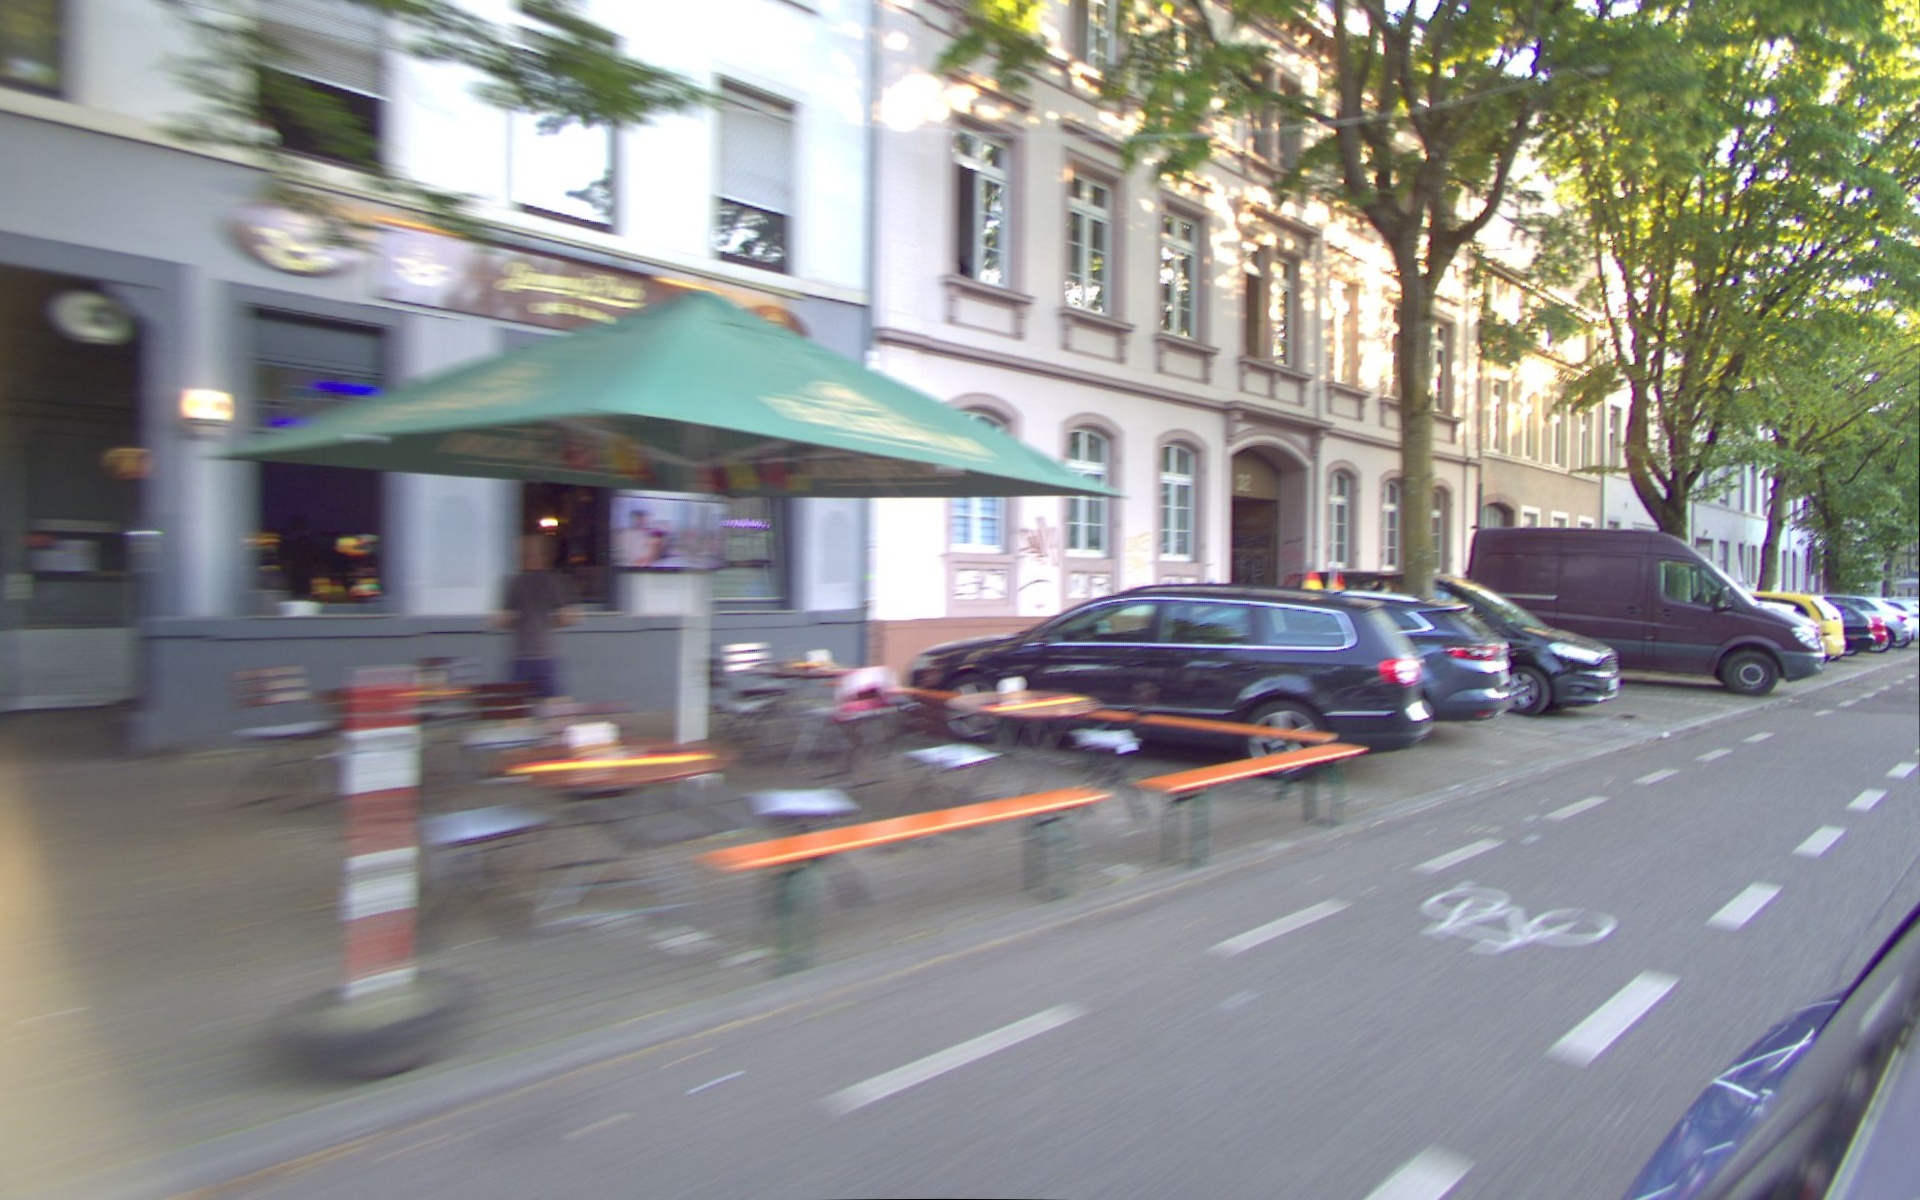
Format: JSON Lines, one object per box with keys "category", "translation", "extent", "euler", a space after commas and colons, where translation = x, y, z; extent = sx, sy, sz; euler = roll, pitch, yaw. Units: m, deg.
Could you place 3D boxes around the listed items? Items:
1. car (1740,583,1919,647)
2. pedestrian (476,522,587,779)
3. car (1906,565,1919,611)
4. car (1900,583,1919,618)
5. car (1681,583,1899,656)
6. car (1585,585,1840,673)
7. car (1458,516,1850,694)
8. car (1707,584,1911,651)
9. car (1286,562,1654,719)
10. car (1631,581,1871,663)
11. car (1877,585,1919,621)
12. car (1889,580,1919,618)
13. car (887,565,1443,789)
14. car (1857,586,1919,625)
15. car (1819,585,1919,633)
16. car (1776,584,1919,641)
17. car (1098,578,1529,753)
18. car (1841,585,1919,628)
{"category": "car", "translation": [24.954, 0.396, 29.053], "extent": [3.975, 1.595, 1.698], "euler": [3, 1, 38]}
{"category": "pedestrian", "translation": [-3.131, 0.339, 7.383], "extent": [0.633, 1.774, 0.499], "euler": [0, 2, -36]}
{"category": "car", "translation": [56.099, -0.590, 56.915], "extent": [1.691, 2.598, 3.991], "euler": [1, 1, -40]}
{"category": "car", "translation": [51.676, 0.082, 52.540], "extent": [3.970, 1.792, 1.700], "euler": [3, 1, 35]}
{"category": "car", "translation": [20.899, 0.446, 25.625], "extent": [1.691, 1.595, 3.992], "euler": [1, 1, -39]}
{"category": "car", "translation": [15.056, 0.517, 20.556], "extent": [3.966, 1.504, 1.702], "euler": [3, 1, 33]}
{"category": "car", "translation": [11.542, -0.046, 17.303], "extent": [5.196, 2.653, 1.905], "euler": [3, 2, 34]}
{"category": "car", "translation": [23.035, 0.419, 27.588], "extent": [1.691, 1.595, 3.992], "euler": [1, 1, -39]}
{"category": "car", "translation": [6.600, 0.410, 13.423], "extent": [1.692, 1.720, 3.989], "euler": [1, 1, -42]}
{"category": "car", "translation": [17.852, 0.440, 22.994], "extent": [1.691, 1.618, 3.992], "euler": [1, 1, -39]}
{"category": "car", "translation": [44.595, 0.204, 46.074], "extent": [3.970, 1.595, 1.700], "euler": [3, 1, 35]}
{"category": "car", "translation": [48.937, 0.004, 50.152], "extent": [3.970, 1.863, 1.700], "euler": [3, 1, 35]}
{"category": "car", "translation": [1.792, 0.535, 9.231], "extent": [4.586, 1.536, 1.796], "euler": [3, 1, 24]}
{"category": "car", "translation": [40.959, 0.282, 43.059], "extent": [3.970, 1.595, 1.700], "euler": [3, 1, 35]}
{"category": "car", "translation": [33.806, 0.348, 36.611], "extent": [3.970, 1.595, 1.700], "euler": [3, 1, 35]}
{"category": "car", "translation": [27.902, 0.372, 31.284], "extent": [3.970, 1.595, 1.700], "euler": [3, 1, 35]}
{"category": "car", "translation": [3.763, 0.569, 11.025], "extent": [4.092, 1.470, 1.788], "euler": [3, 1, 35]}
{"category": "car", "translation": [37.377, 0.286, 39.758], "extent": [3.970, 1.595, 1.700], "euler": [3, 1, 35]}
